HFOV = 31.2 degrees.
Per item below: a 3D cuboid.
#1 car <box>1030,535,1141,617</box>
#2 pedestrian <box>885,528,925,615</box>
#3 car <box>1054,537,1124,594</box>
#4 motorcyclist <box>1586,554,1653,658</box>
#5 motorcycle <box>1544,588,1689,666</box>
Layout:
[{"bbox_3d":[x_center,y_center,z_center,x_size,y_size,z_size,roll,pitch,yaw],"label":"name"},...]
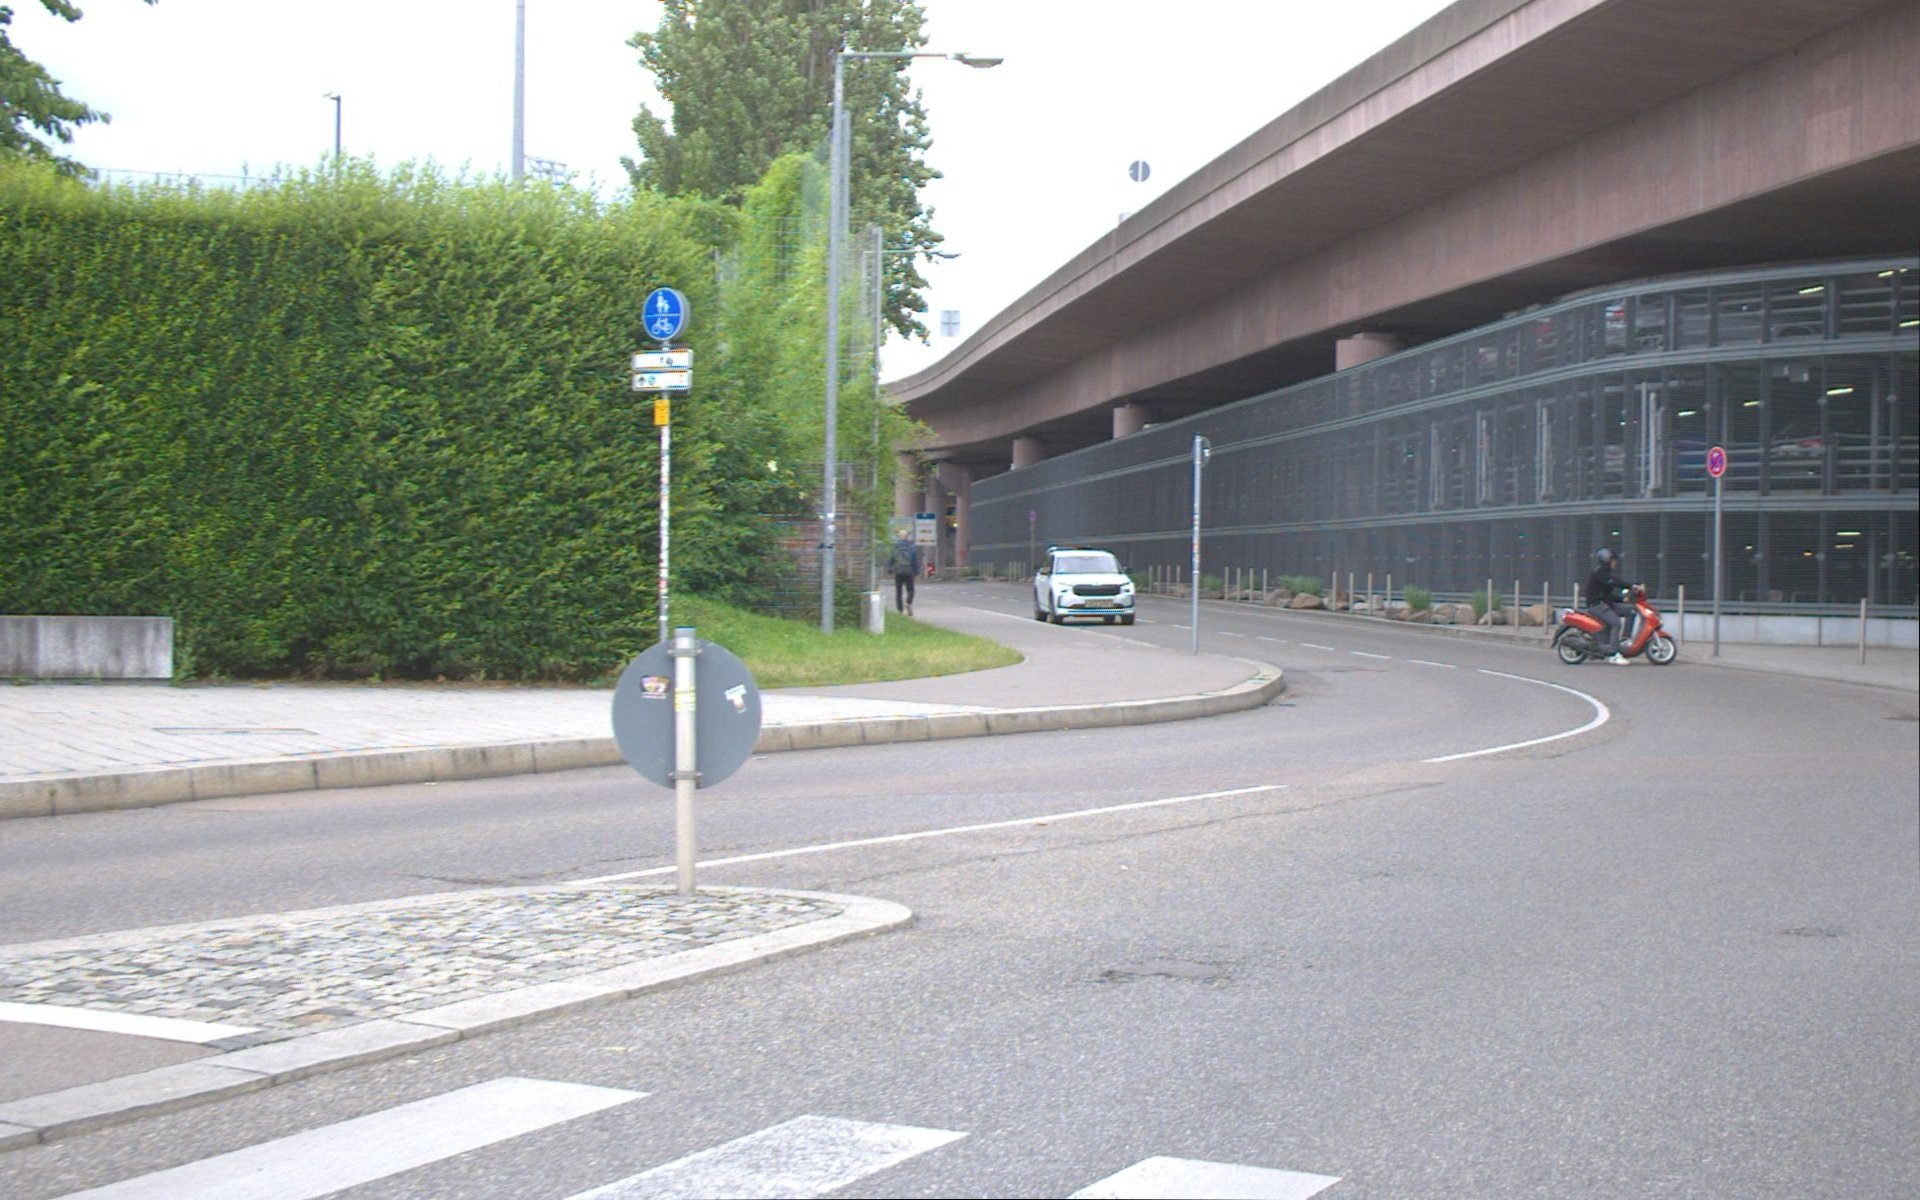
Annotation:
[{"bbox_3d":[2.772,-0.568,77.115,1.864,1.677,4.407,0,2,-6],"label":"car"},{"bbox_3d":[-1.138,-0.598,71.102,0.803,1.774,0.920,1,2,-2],"label":"pedestrian"},{"bbox_3d":[4.124,-1.126,110.100,1.839,1.705,3.706,1,2,-4],"label":"car"},{"bbox_3d":[9.233,0.077,48.104,0.867,1.414,0.764,1,2,14],"label":"motorcyclist"},{"bbox_3d":[9.189,0.374,48.115,1.951,1.019,0.748,1,2,13],"label":"motorcycle"}]
